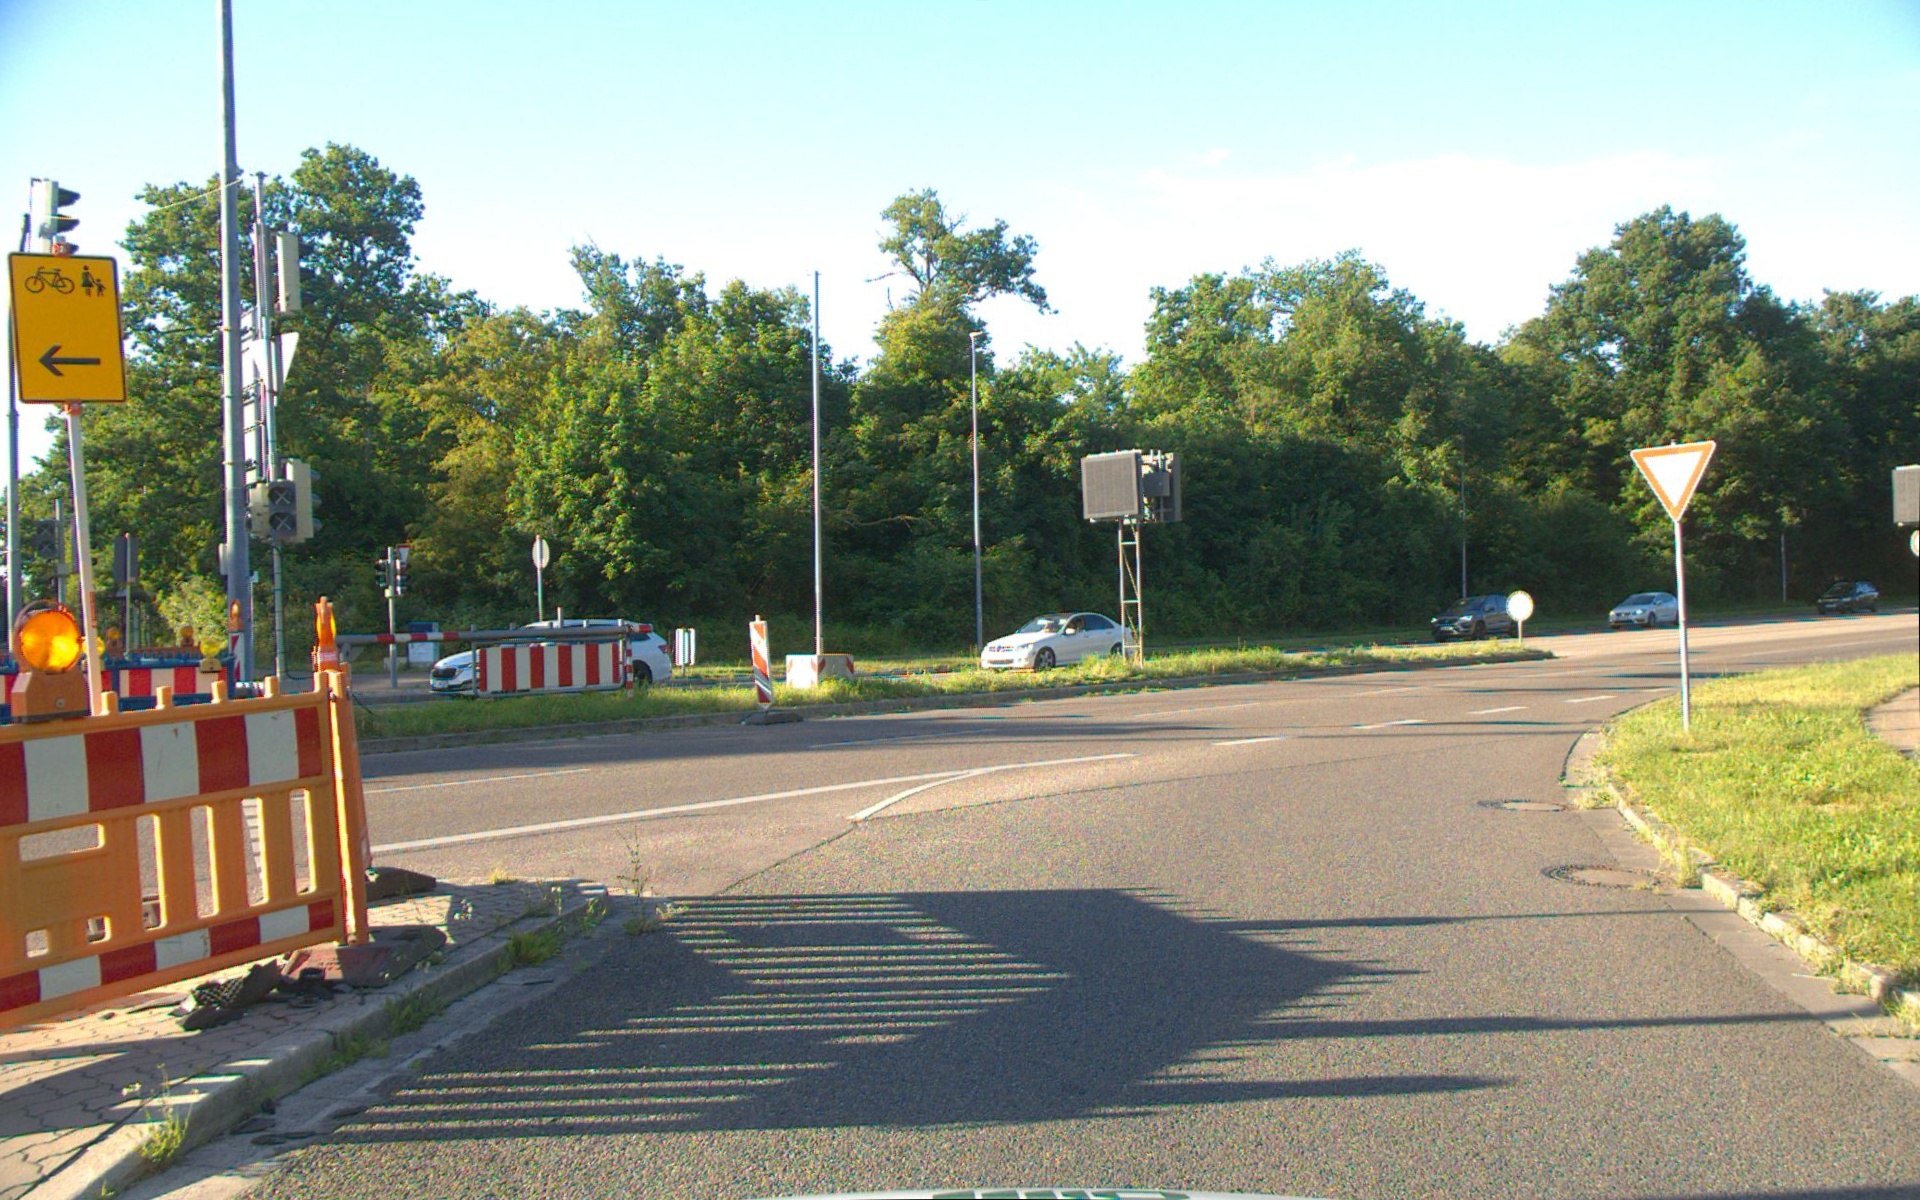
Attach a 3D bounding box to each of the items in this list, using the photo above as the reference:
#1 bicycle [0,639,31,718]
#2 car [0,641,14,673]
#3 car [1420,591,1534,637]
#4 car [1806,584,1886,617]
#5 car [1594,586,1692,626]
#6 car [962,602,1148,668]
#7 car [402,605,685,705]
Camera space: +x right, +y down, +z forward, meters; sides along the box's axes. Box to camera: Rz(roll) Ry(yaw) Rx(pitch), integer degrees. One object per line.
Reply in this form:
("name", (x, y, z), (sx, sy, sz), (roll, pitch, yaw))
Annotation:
("bicycle", (-17.994, 1.410, 29.219), (0.948, 1.407, 2.633), (-1, -1, 32))
("car", (-45.989, 2.707, 78.339), (1.919, 1.439, 3.961), (-2, 0, -29))
("car", (19.158, 0.519, 61.237), (4.613, 1.556, 1.969), (-1, 0, -43))
("car", (45.027, 0.005, 84.022), (4.605, 1.556, 1.972), (-1, 0, -39))
("car", (29.185, 0.245, 70.585), (4.609, 1.556, 1.971), (-1, 0, -41))
("car", (2.401, 0.846, 40.934), (1.966, 1.461, 4.775), (-2, 0, 44))
("car", (-7.623, 0.968, 30.623), (1.965, 1.608, 4.803), (-2, 0, 43))
